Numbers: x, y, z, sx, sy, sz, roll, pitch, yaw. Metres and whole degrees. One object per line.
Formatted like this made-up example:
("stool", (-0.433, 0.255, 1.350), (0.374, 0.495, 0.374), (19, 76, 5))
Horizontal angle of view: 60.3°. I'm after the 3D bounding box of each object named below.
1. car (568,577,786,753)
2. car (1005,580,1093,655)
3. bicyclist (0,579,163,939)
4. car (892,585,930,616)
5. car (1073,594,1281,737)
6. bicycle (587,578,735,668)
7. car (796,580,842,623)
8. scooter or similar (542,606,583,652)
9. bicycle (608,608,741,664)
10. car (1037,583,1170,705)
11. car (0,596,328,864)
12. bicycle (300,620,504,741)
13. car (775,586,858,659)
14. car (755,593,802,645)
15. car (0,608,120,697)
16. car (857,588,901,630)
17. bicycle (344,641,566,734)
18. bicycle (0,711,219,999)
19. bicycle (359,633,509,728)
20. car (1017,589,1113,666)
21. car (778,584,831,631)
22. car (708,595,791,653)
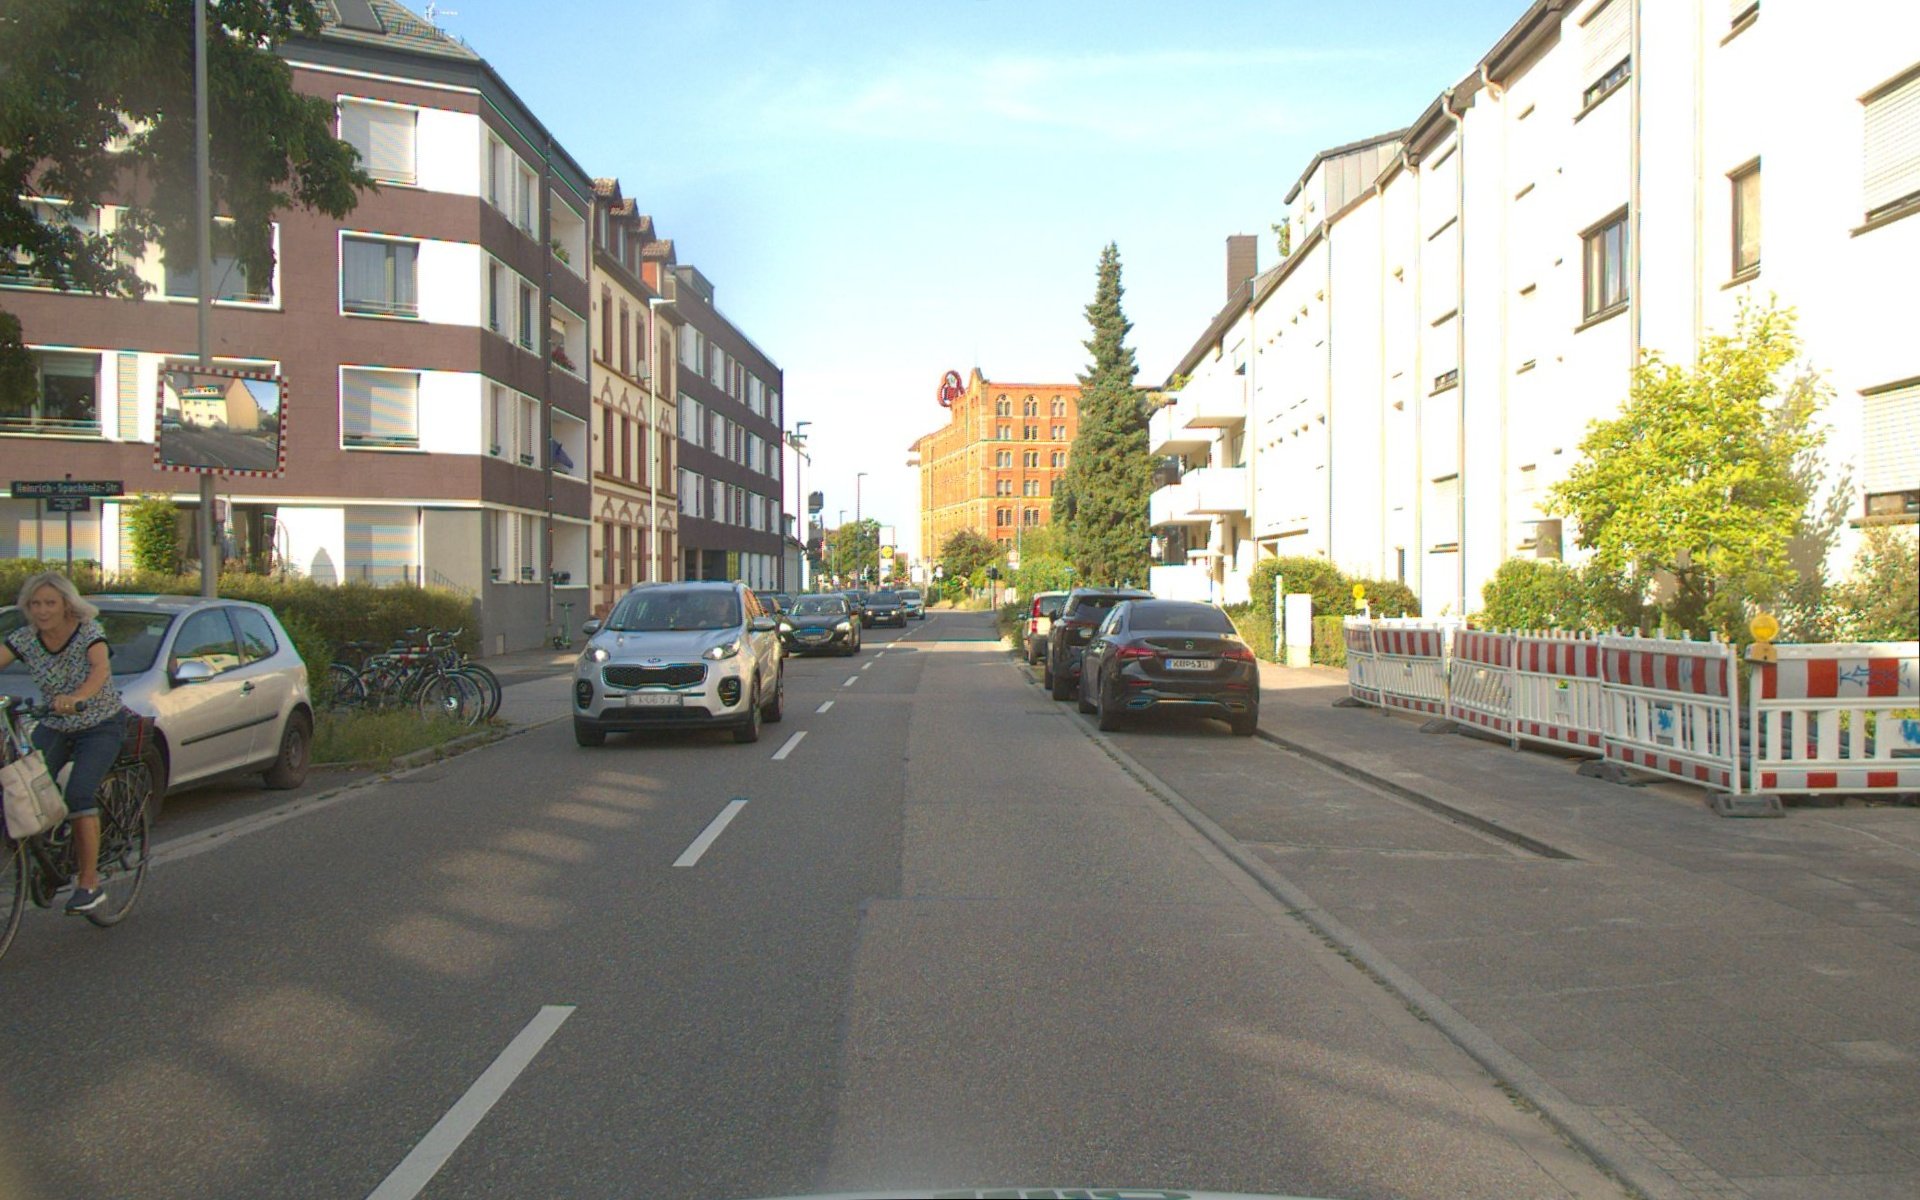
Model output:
("car", (-2.913, 0.615, 17.809), (1.728, 1.644, 3.999), (-1, 0, -1))
("car", (2.164, 0.408, 41.393), (1.953, 1.803, 3.999), (0, 0, -1))
("bicyclist", (-3.905, 0.648, 7.123), (0.578, 1.467, 0.750), (0, 0, 0))
("car", (-2.583, 0.029, 87.566), (1.953, 1.624, 3.999), (0, 0, -1))
("car", (2.439, 0.690, 19.556), (1.821, 1.497, 3.999), (-1, 0, -2))
("bicycle", (-6.234, 0.471, 34.634), (2.858, 1.808, 1.202), (-1, 0, -1))
("car", (-6.852, 0.072, 80.494), (1.953, 2.049, 3.999), (0, 0, -1))
("scooter or similar", (-10.097, 0.720, 42.051), (0.620, 1.123, 1.610), (1, 0, -1))
("bicycle", (-6.265, 0.781, 36.405), (2.716, 1.164, 1.143), (-1, 0, -1))
("car", (2.064, 0.603, 24.626), (1.569, 1.674, 3.684), (-1, 0, -1))
("car", (-5.882, 0.741, 11.442), (1.643, 1.528, 3.998), (0, 0, -3))
("bicycle", (-5.978, 0.850, 17.803), (1.963, 1.238, 0.707), (0, 0, -7))
("car", (-3.444, 0.514, 40.241), (1.728, 1.644, 3.999), (-1, 0, -1))
("car", (-5.390, 0.546, 49.235), (1.051, 1.489, 3.584), (0, 0, -1))
("car", (-15.030, 0.807, 25.674), (3.415, 1.310, 1.645), (0, 0, -33))
("car", (-3.315, 0.360, 68.237), (1.728, 1.644, 3.999), (-1, 0, -1))
("bicycle", (-5.670, 0.974, 18.687), (2.295, 0.987, 0.707), (0, 0, -7))
("bicycle", (-3.903, 1.024, 7.141), (0.596, 0.959, 1.811), (0, 0, 0))
("bicycle", (-6.148, 0.928, 19.389), (1.554, 1.059, 0.707), (0, 0, -7))
("car", (2.244, 0.566, 36.354), (1.728, 1.553, 3.999), (-1, 0, -1))
("car", (-6.577, 0.311, 70.380), (1.953, 1.914, 3.999), (0, 0, -1))
("car", (-5.613, 0.618, 44.471), (1.803, 1.489, 3.584), (0, 0, -1))
